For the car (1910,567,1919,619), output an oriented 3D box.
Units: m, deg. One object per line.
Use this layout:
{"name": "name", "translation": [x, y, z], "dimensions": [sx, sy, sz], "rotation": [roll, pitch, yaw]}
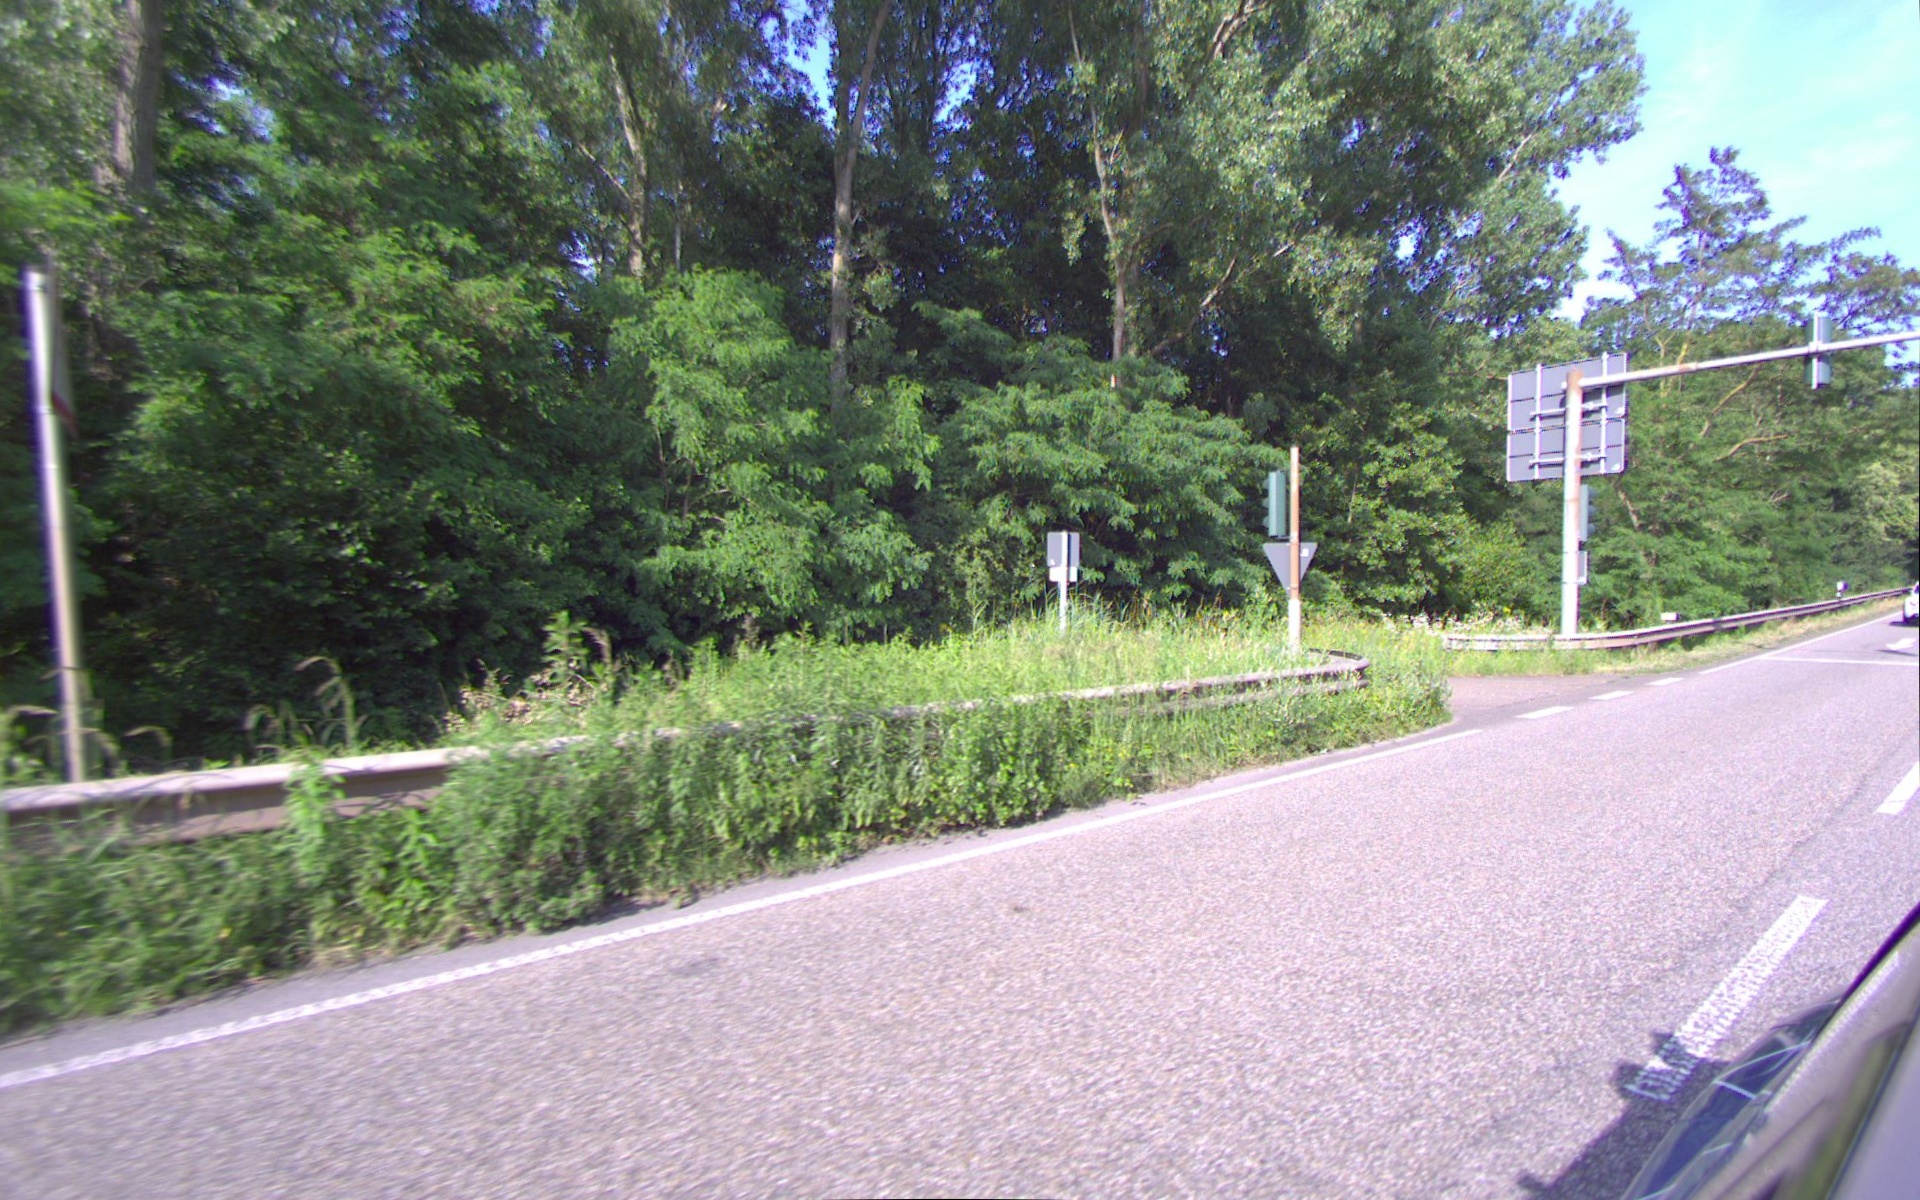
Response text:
{"name": "car", "translation": [33.104, -0.235, 33.508], "dimensions": [4.750, 1.654, 1.874], "rotation": [-1, 3, -41]}
